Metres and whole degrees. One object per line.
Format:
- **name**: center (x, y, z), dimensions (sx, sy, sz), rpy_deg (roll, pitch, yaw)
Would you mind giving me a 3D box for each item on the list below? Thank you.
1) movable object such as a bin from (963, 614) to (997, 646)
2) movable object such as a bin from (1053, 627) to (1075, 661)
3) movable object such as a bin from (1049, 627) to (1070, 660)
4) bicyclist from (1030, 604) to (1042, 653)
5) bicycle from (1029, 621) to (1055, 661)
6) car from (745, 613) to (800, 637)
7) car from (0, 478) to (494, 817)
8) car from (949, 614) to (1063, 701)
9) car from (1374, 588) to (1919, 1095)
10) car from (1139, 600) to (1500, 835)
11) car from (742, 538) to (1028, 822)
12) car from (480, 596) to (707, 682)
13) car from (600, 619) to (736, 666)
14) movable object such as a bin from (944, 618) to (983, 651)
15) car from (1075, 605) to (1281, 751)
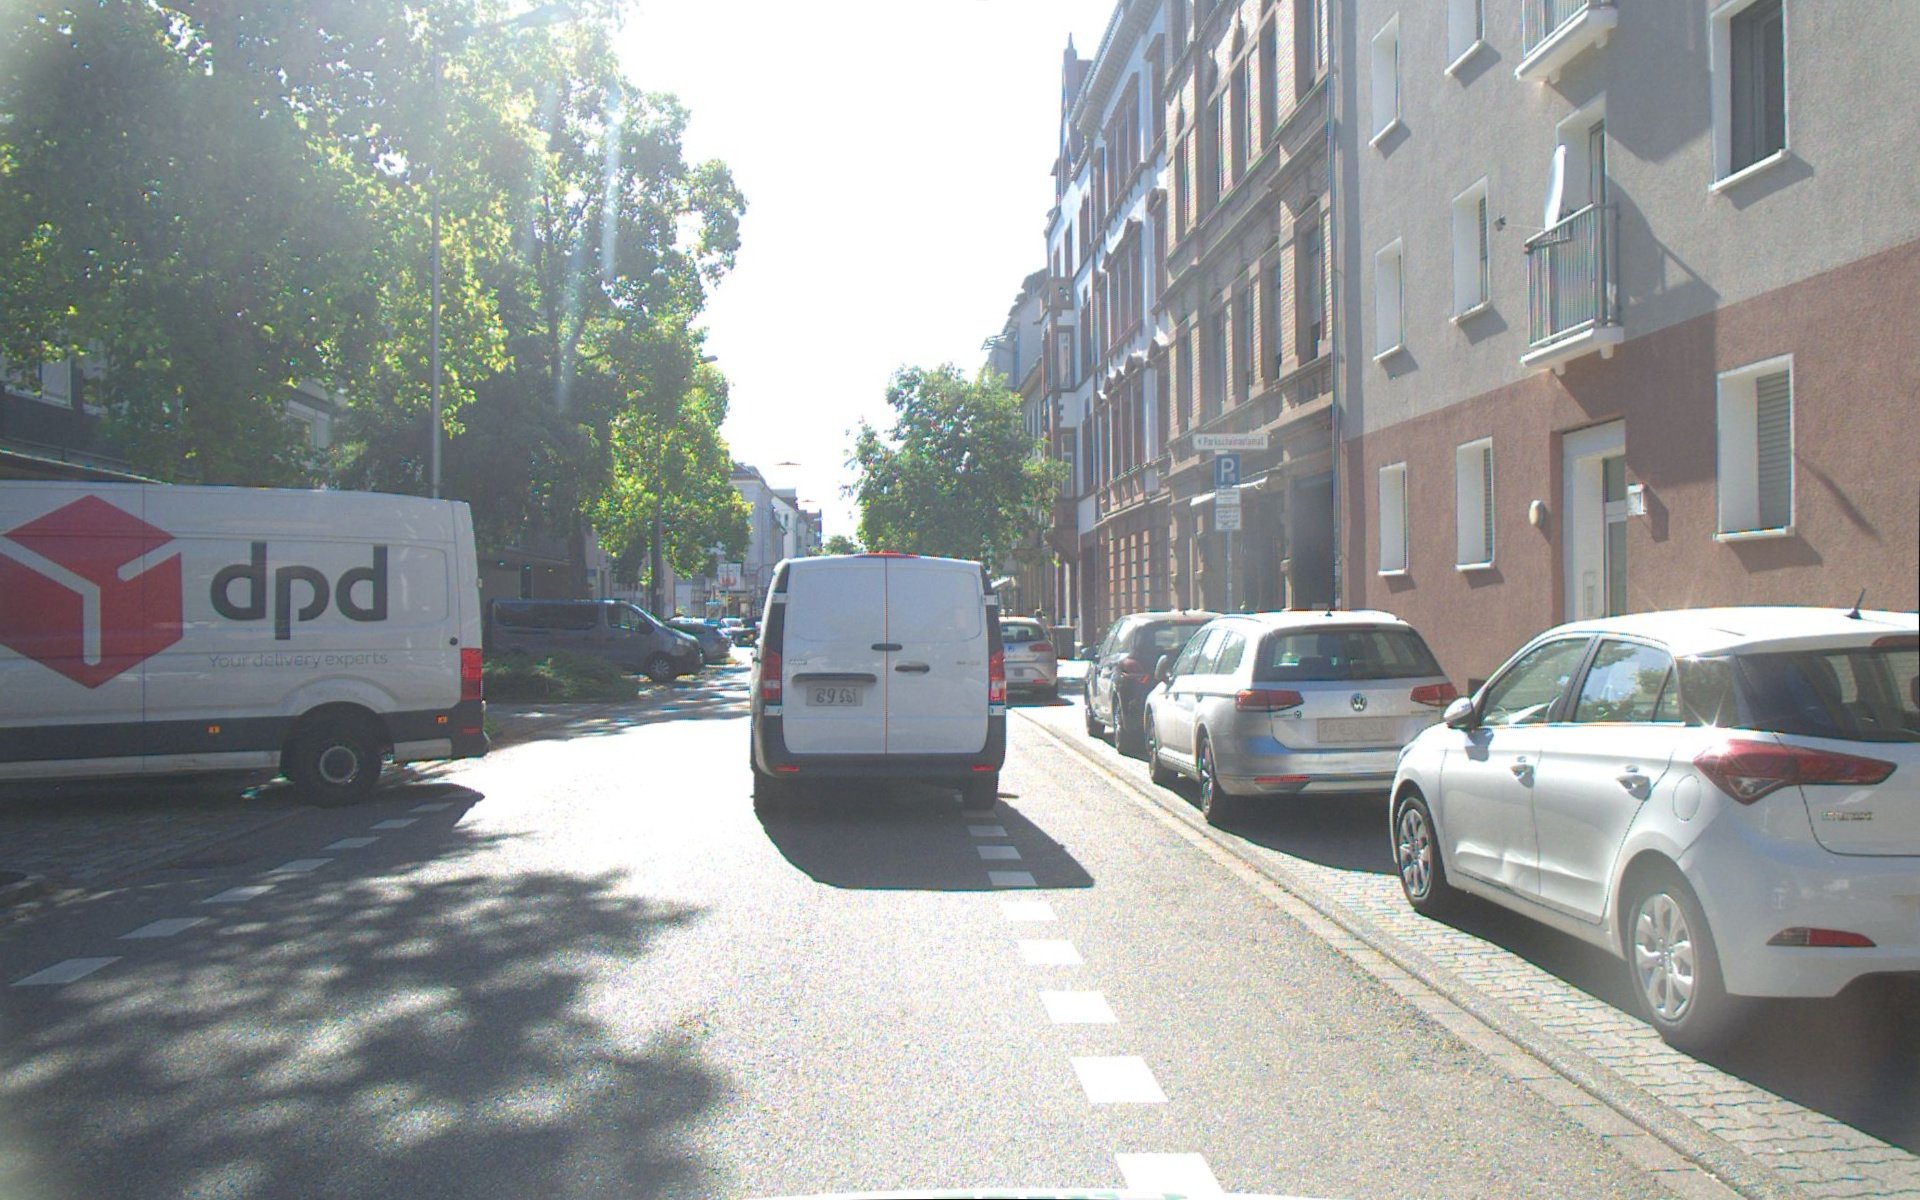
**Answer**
- **movable object such as a bin**: center (0.856, 1.318, 71.904), dimensions (1.020, 1.371, 1.105), rpy_deg (-1, -1, 35)
- **movable object such as a bin**: center (3.393, 1.438, 53.902), dimensions (0.625, 1.087, 0.639), rpy_deg (-1, -1, -4)
- **movable object such as a bin**: center (3.300, 1.454, 55.054), dimensions (0.625, 1.087, 0.631), rpy_deg (-1, -1, -4)
- **bicyclist**: center (2.332, 0.865, 50.595), dimensions (0.353, 1.503, 0.530), rpy_deg (0, -1, 0)
- **bicycle**: center (2.515, 1.261, 50.714), dimensions (0.526, 1.168, 2.123), rpy_deg (-6, -1, -1)
- **car**: center (-13.382, 1.777, 118.122), dimensions (3.911, 1.669, 1.997), rpy_deg (0, -1, -7)
- **car**: center (-7.279, 0.359, 13.370), dimensions (6.509, 2.517, 1.981), rpy_deg (0, -1, -29)
- **car**: center (0.782, 1.008, 30.634), dimensions (1.704, 1.477, 3.996), rpy_deg (-1, -1, -4)
- **car**: center (3.235, 0.738, 7.018), dimensions (1.697, 1.512, 3.791), rpy_deg (-2, 0, -5)
- **car**: center (2.610, 0.794, 13.122), dimensions (1.749, 1.485, 4.515), rpy_deg (-2, -1, -1)
- **car**: center (-0.826, 0.570, 13.891), dimensions (1.885, 1.947, 4.878), rpy_deg (1, 0, -9)
- **car**: center (-8.975, 0.947, 40.852), dimensions (5.188, 2.009, 2.014), rpy_deg (1, -1, -4)
- **car**: center (-9.665, 1.400, 54.946), dimensions (4.218, 1.486, 1.761), rpy_deg (1, -1, -2)
- **movable object such as a bin**: center (0.167, 1.473, 70.663), dimensions (1.090, 1.371, 1.263), rpy_deg (-2, -1, 44)
- **car**: center (2.415, 0.837, 19.171), dimensions (1.675, 1.506, 3.707), rpy_deg (-1, -1, -4)
